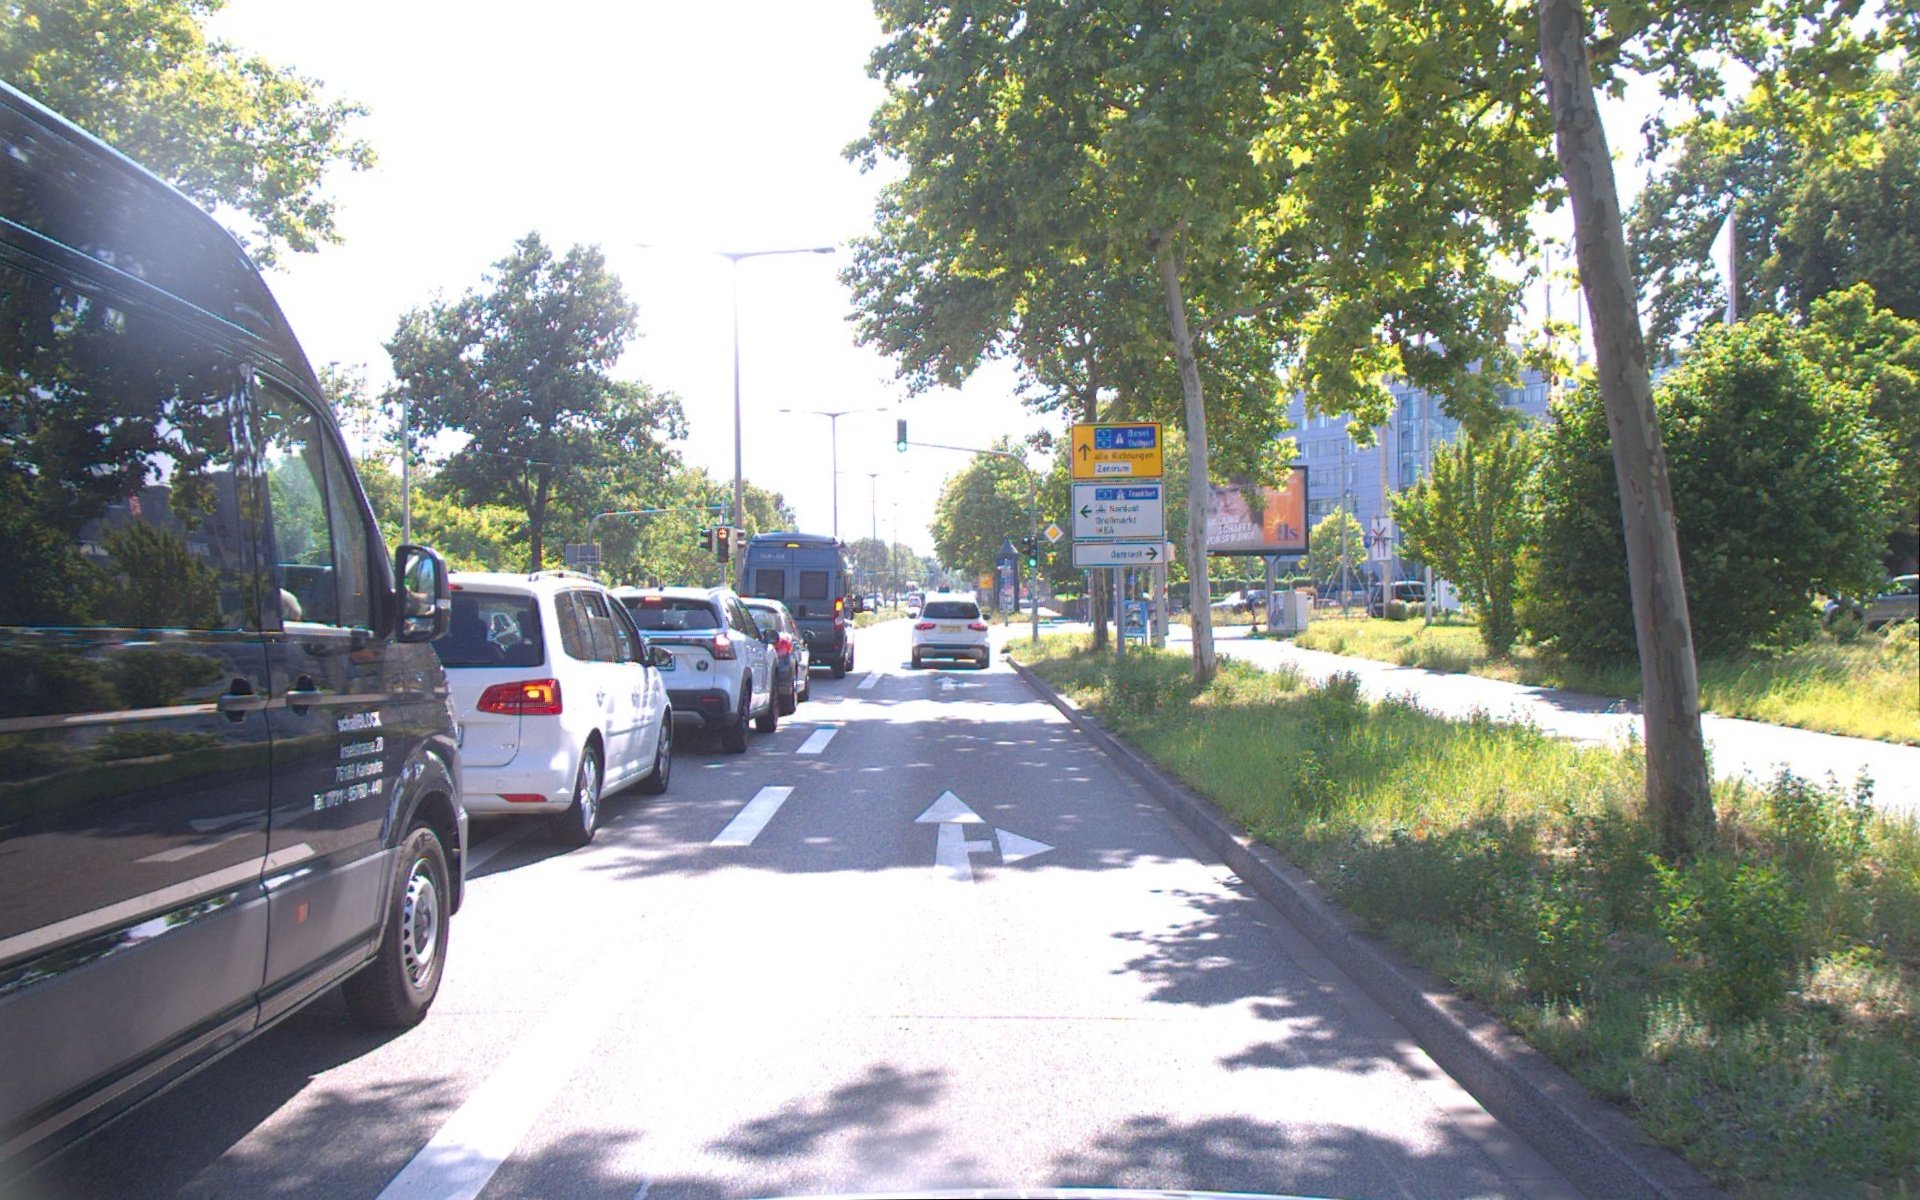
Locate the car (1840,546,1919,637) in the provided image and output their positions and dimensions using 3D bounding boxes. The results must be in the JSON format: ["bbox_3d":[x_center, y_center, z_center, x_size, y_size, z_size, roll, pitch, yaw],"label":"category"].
[{"bbox_3d":[22.571,-0.202,37.992,1.985,2.049,3.735,0,0,-44],"label":"car"}]

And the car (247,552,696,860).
[{"bbox_3d":[-3.016,0.601,11.219,1.735,1.676,4.351,0,-1,0],"label":"car"}]

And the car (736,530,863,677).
[{"bbox_3d":[-3.127,0.089,33.258,2.039,2.703,4.873,1,-1,0],"label":"car"}]

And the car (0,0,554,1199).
[{"bbox_3d":[-2.702,0.103,3.871,1.974,2.653,6.167,1,-1,0],"label":"car"}]

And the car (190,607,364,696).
[{"bbox_3d":[-13.064,0.935,31.914,1.703,1.512,4.157,-2,0,-2],"label":"car"}]

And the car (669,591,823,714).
[{"bbox_3d":[-2.899,0.682,23.126,1.657,1.531,3.885,1,0,-1],"label":"car"}]

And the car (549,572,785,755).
[{"bbox_3d":[-2.912,0.603,17.274,1.735,1.676,4.084,0,-1,0],"label":"car"}]

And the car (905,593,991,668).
[{"bbox_3d":[-0.226,0.659,38.709,1.815,1.635,4.001,1,0,2],"label":"car"}]

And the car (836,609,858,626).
[{"bbox_3d":[-7.882,1.195,115.501,1.341,1.132,3.206,-1,-1,-1],"label":"car"}]
